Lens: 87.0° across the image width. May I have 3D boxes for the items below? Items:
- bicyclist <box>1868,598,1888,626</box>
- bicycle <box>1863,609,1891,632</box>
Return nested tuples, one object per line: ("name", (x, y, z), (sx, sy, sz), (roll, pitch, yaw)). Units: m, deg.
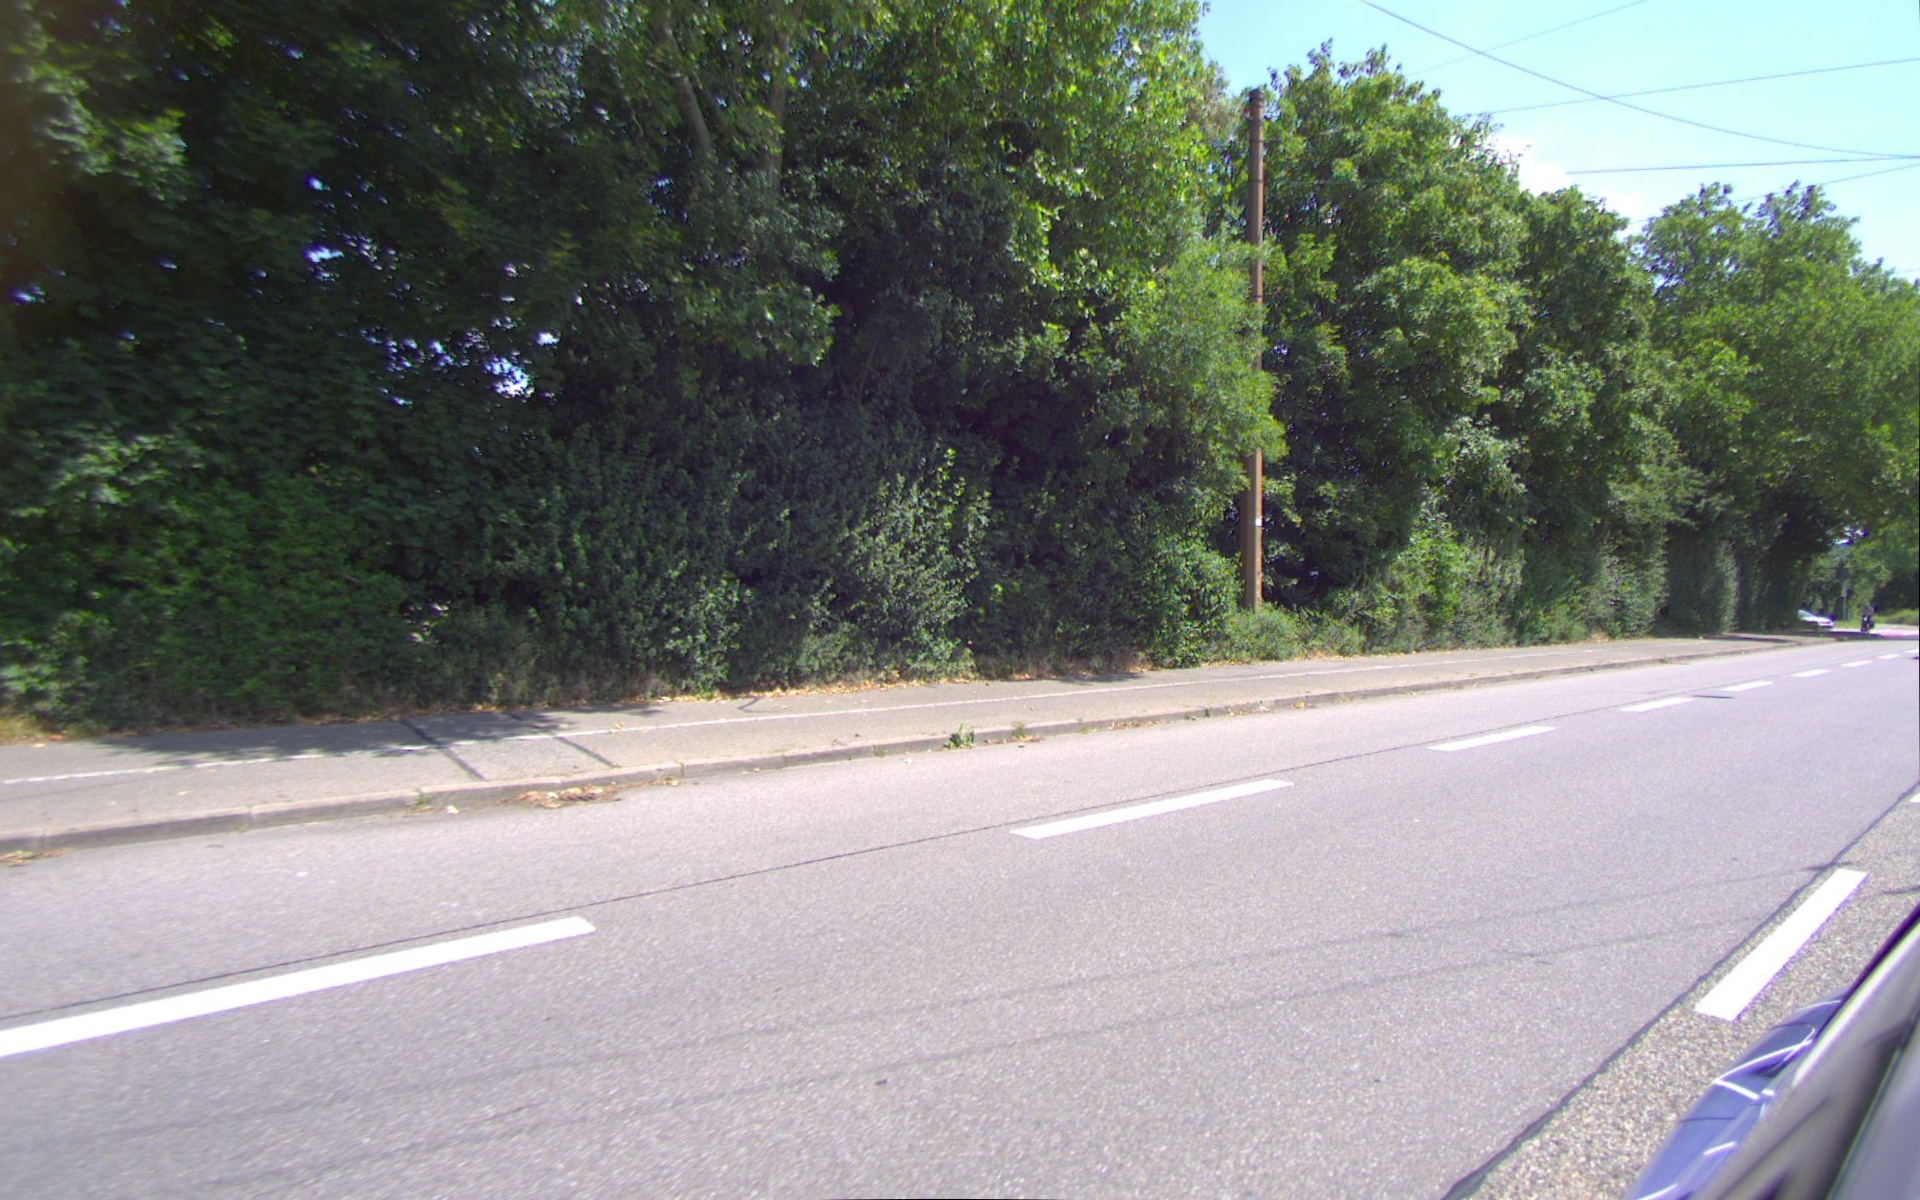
("bicyclist", (48.519, 0.635, 53.493), (0.629, 1.457, 0.704), (0, 1, -39))
("bicycle", (48.519, 1.072, 53.521), (2.492, 1.152, 0.710), (0, 1, -39))
